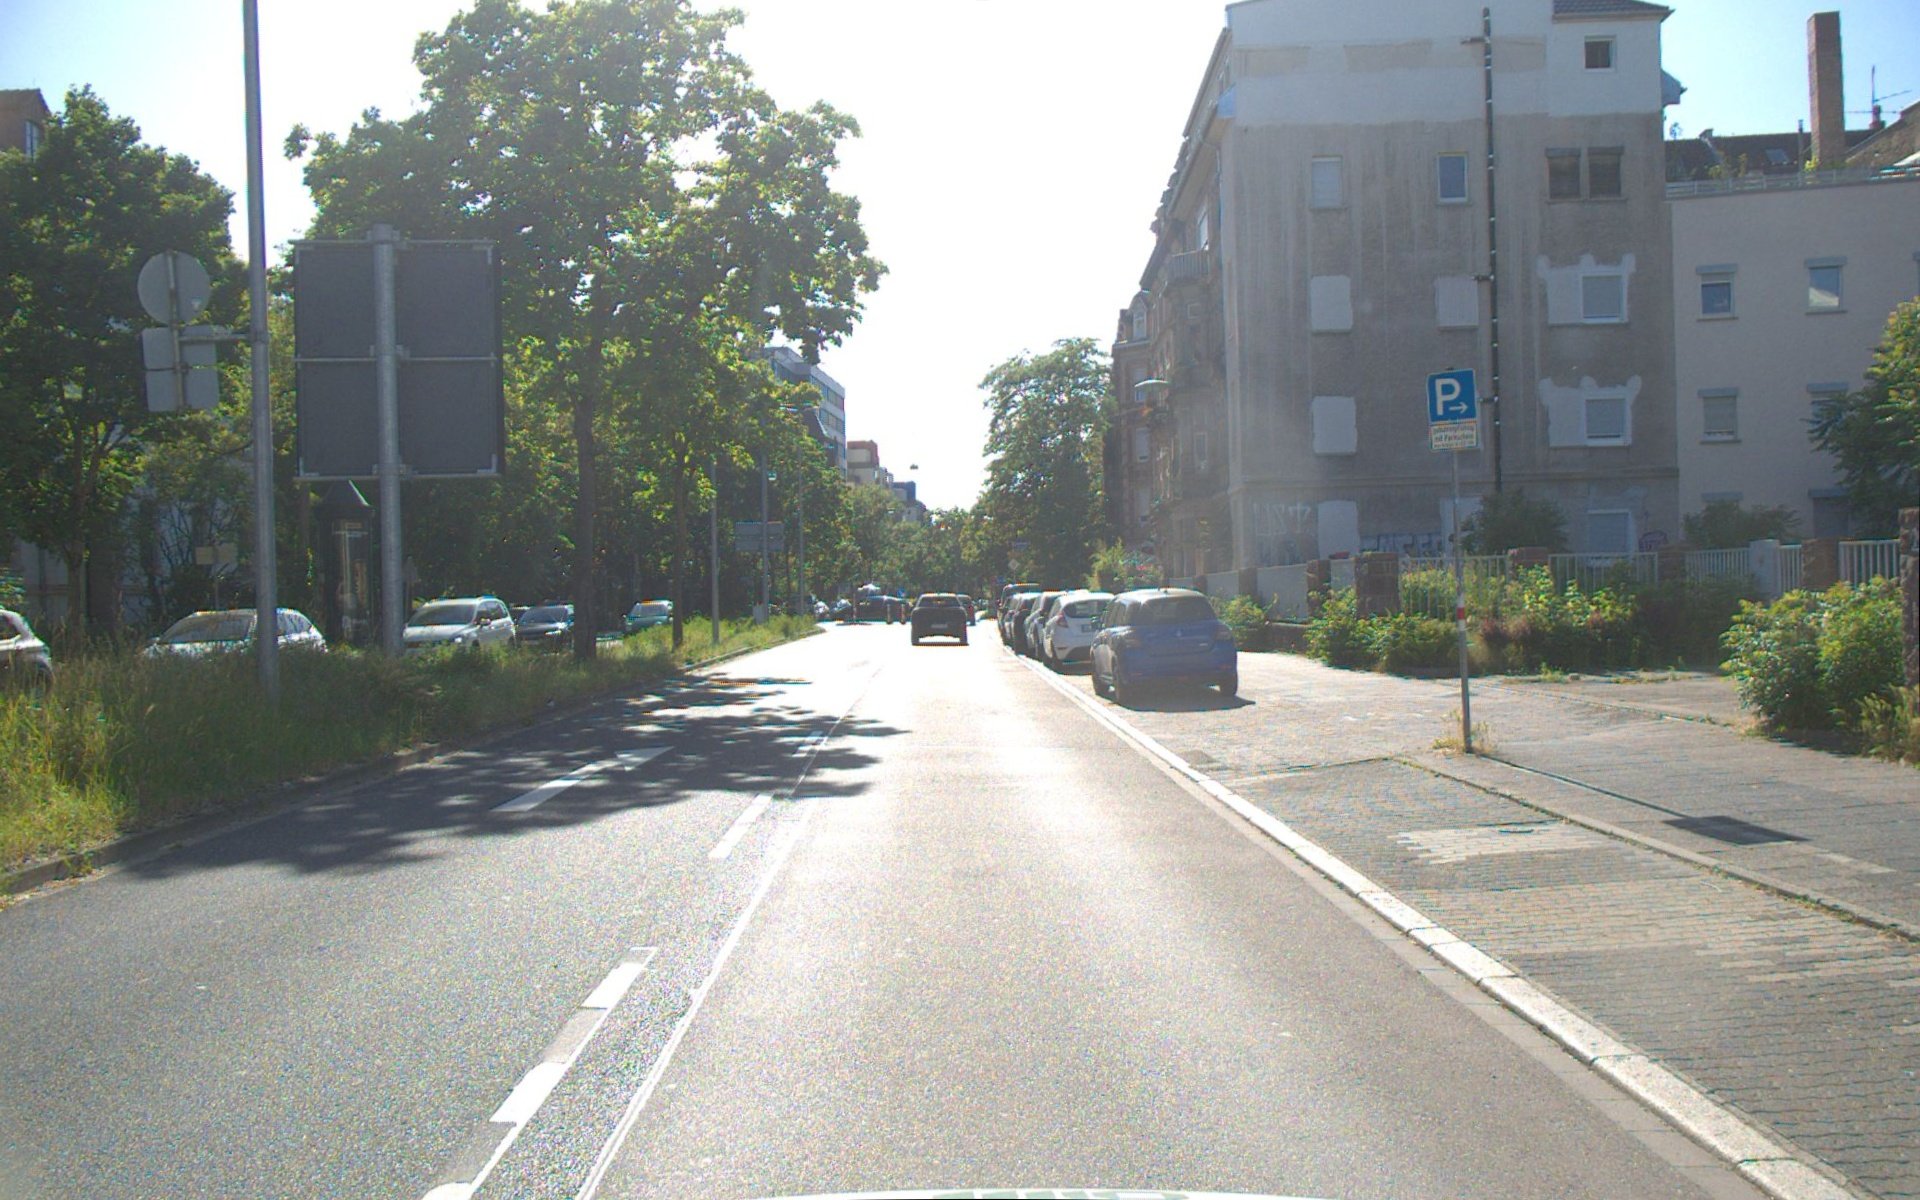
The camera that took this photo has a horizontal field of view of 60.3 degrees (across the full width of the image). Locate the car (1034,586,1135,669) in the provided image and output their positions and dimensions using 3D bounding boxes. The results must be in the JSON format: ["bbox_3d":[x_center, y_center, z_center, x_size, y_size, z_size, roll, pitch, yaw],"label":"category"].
[{"bbox_3d":[2.507,0.521,33.971,1.576,1.471,3.657,-5,1,-2],"label":"car"}]

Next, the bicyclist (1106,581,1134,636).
[{"bbox_3d":[4.744,0.245,49.140,0.726,1.607,1.100,0,1,1],"label":"bicyclist"}]

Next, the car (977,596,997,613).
[{"bbox_3d":[2.857,0.482,173.613,1.880,1.668,4.002,-2,0,3],"label":"car"}]

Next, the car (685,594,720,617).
[{"bbox_3d":[-20.110,0.422,129.118,1.946,1.691,3.976,-2,0,-20],"label":"car"}]

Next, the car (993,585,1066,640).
[{"bbox_3d":[2.086,0.353,51.157,1.896,1.545,4.482,-2,0,-2],"label":"car"}]

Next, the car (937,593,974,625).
[{"bbox_3d":[-0.238,0.466,82.719,1.756,1.547,3.848,0,-1,-1],"label":"car"}]

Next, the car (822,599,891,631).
[{"bbox_3d":[-5.696,0.833,91.180,3.773,1.662,1.619,0,-3,-3],"label":"car"}]

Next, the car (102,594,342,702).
[{"bbox_3d":[-11.970,0.716,27.202,1.801,1.545,4.666,-2,0,0],"label":"car"}]

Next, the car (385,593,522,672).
[{"bbox_3d":[-11.663,0.712,38.408,1.862,1.654,4.535,-2,0,-2],"label":"car"}]

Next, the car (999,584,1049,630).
[{"bbox_3d":[2.229,0.203,57.752,1.633,1.493,4.275,-2,0,2],"label":"car"}]

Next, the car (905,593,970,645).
[{"bbox_3d":[-0.760,0.571,52.060,1.857,1.545,3.997,1,0,-3],"label":"car"}]

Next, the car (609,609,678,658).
[{"bbox_3d":[-10.767,1.105,56.502,1.605,1.545,4.257,-2,0,-2],"label":"car"}]

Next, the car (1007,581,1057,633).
[{"bbox_3d":[2.732,0.227,63.582,1.781,1.876,4.365,-2,0,2],"label":"car"}]

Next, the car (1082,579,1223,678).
[{"bbox_3d":[3.299,0.456,29.044,1.636,1.485,3.982,-5,1,-4],"label":"car"}]

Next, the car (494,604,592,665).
[{"bbox_3d":[-11.616,0.965,46.356,1.760,1.545,4.085,-3,-1,-2],"label":"car"}]

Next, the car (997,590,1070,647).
[{"bbox_3d":[1.927,0.459,44.344,1.634,1.418,3.774,-2,0,-2],"label":"car"}]

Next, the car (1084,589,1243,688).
[{"bbox_3d":[2.908,0.505,24.402,1.635,1.203,3.899,-5,1,-2],"label":"car"}]

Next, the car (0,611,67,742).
[{"bbox_3d":[-12.138,0.888,18.743,1.759,1.546,4.257,0,-1,-1],"label":"car"}]

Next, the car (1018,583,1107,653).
[{"bbox_3d":[2.413,0.396,39.625,1.635,1.545,3.658,-2,0,-4],"label":"car"}]
